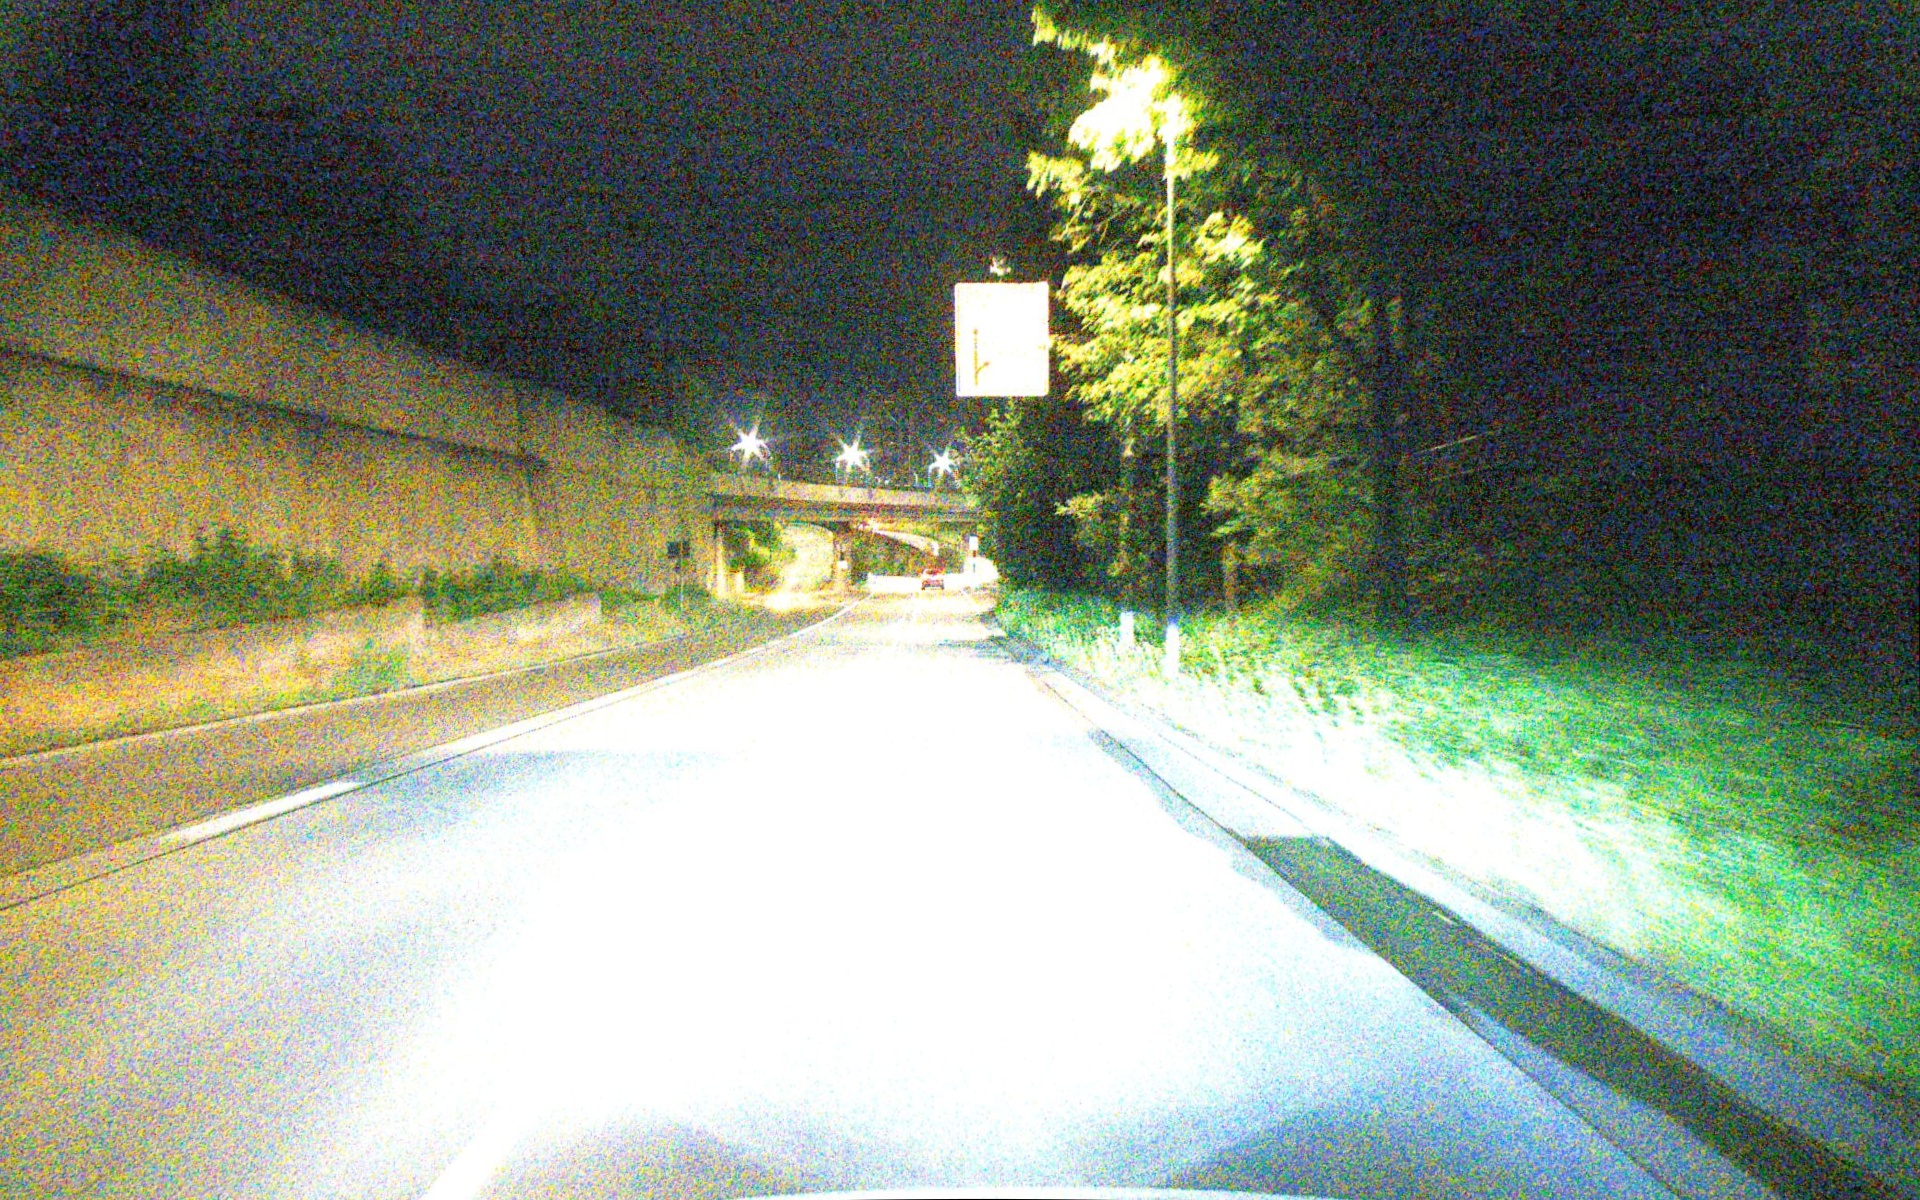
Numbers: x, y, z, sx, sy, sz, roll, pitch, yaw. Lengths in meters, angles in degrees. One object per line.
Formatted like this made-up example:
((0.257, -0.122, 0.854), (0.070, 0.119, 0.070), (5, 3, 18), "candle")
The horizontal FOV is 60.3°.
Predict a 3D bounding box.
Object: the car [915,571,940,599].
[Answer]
((-2.553, -1.158, 130.277), (1.880, 2.049, 4.121), (1, 0, -1), "car")
